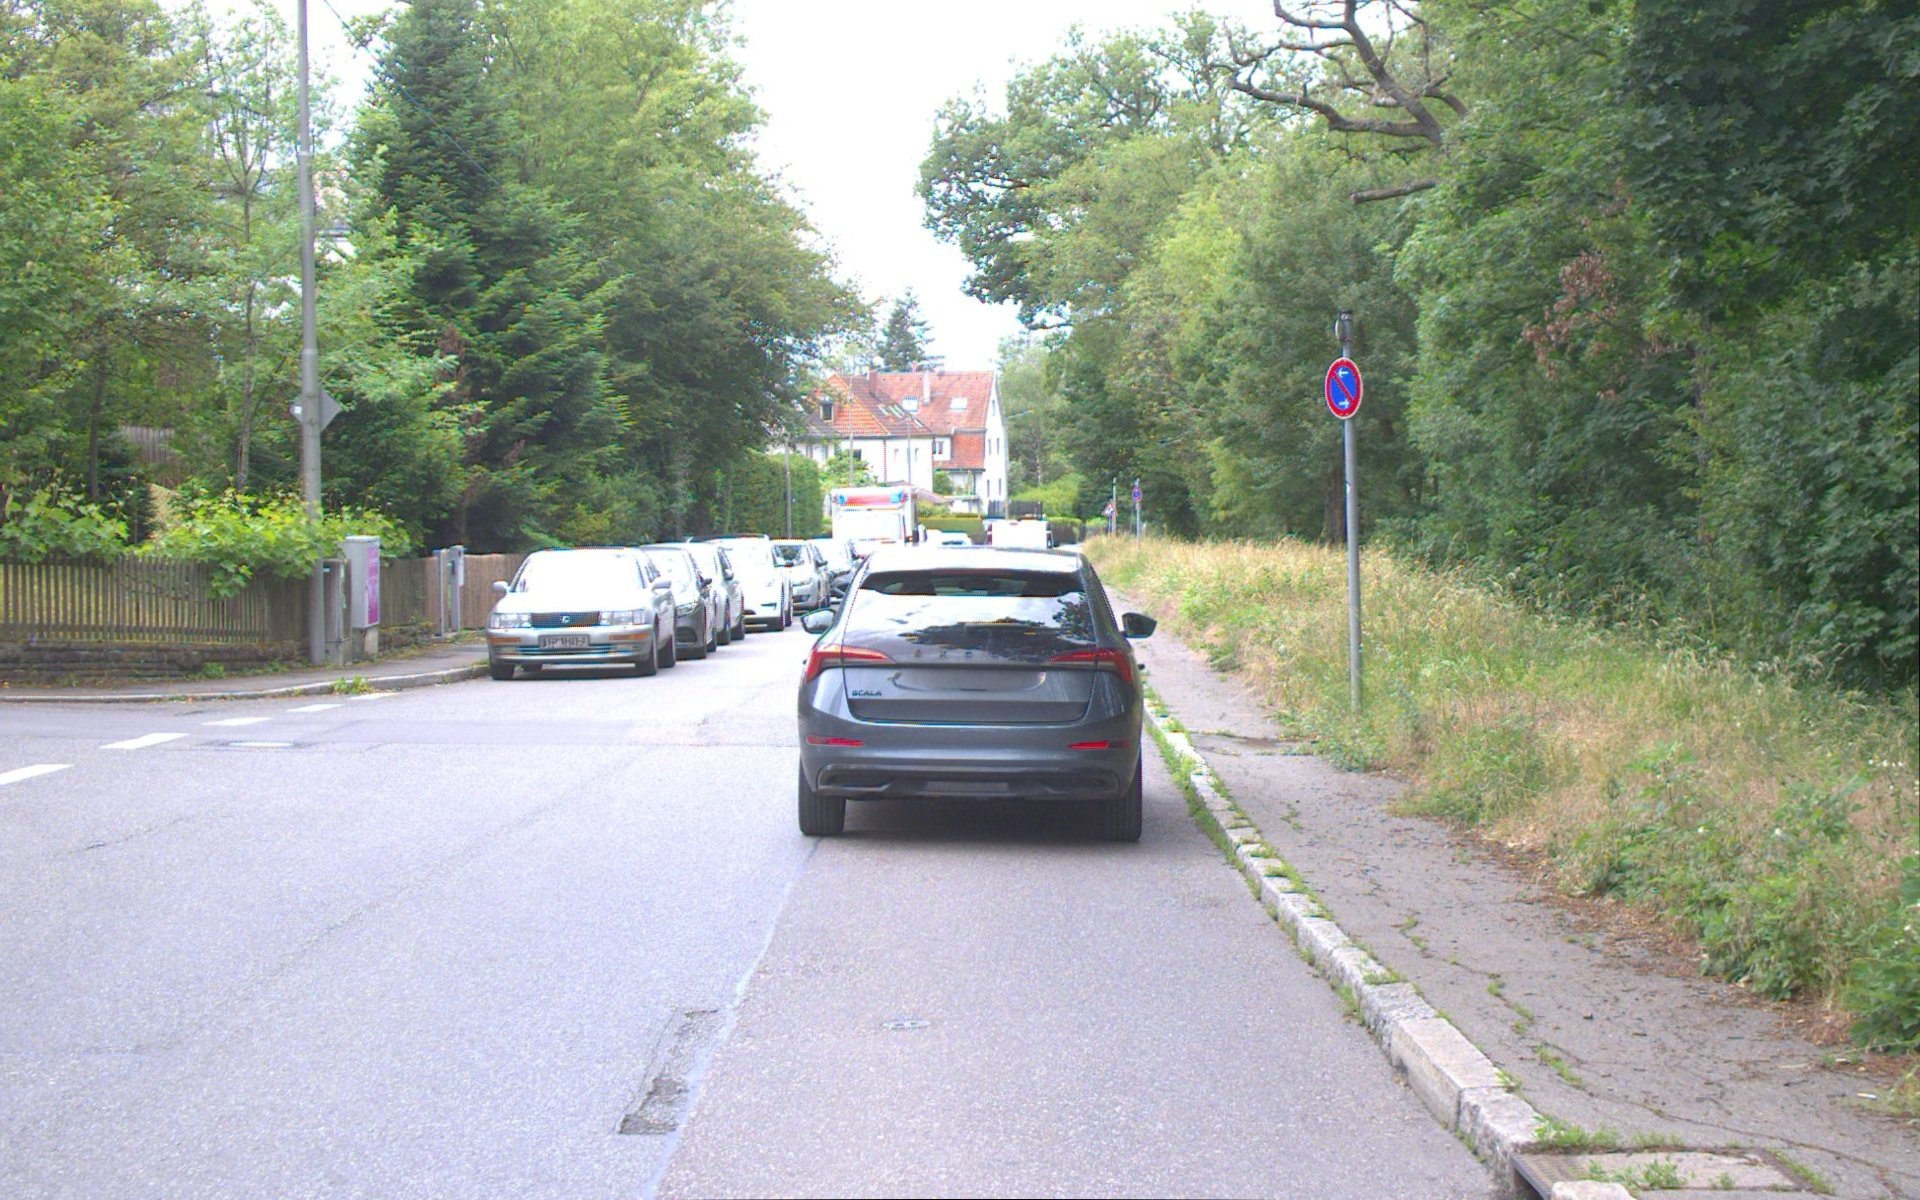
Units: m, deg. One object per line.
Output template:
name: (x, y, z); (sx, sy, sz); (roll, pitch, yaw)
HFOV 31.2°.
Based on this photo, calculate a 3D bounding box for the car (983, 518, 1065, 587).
car: (1.796, -1.377, 97.876); (2.071, 1.915, 4.923); (0, 1, -2)

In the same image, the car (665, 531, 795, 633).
car: (-3.805, -0.342, 57.598); (1.916, 1.556, 4.604); (-2, 1, -1)

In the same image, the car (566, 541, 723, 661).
car: (-4.045, -0.025, 44.671); (1.734, 1.434, 4.263); (-1, 1, -2)

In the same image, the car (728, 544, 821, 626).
car: (-3.643, -0.314, 68.085); (1.720, 1.499, 4.008); (-2, 1, -2)

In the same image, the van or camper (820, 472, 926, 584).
van or camper: (-2.400, -1.942, 92.887); (2.456, 2.885, 7.169); (-1, 1, -4)

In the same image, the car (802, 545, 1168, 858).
car: (0.058, 0.450, 18.468); (1.728, 1.434, 4.324); (0, 1, -2)

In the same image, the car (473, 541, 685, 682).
car: (-4.209, 0.076, 38.673); (1.848, 1.434, 4.910); (-1, 1, -1)

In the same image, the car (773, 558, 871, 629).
car: (-3.206, -0.181, 80.630); (1.798, 1.499, 4.863); (-2, 1, 3)

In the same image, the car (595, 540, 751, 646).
car: (-4.172, -0.140, 50.494); (1.834, 1.434, 4.117); (-2, 1, 1)
